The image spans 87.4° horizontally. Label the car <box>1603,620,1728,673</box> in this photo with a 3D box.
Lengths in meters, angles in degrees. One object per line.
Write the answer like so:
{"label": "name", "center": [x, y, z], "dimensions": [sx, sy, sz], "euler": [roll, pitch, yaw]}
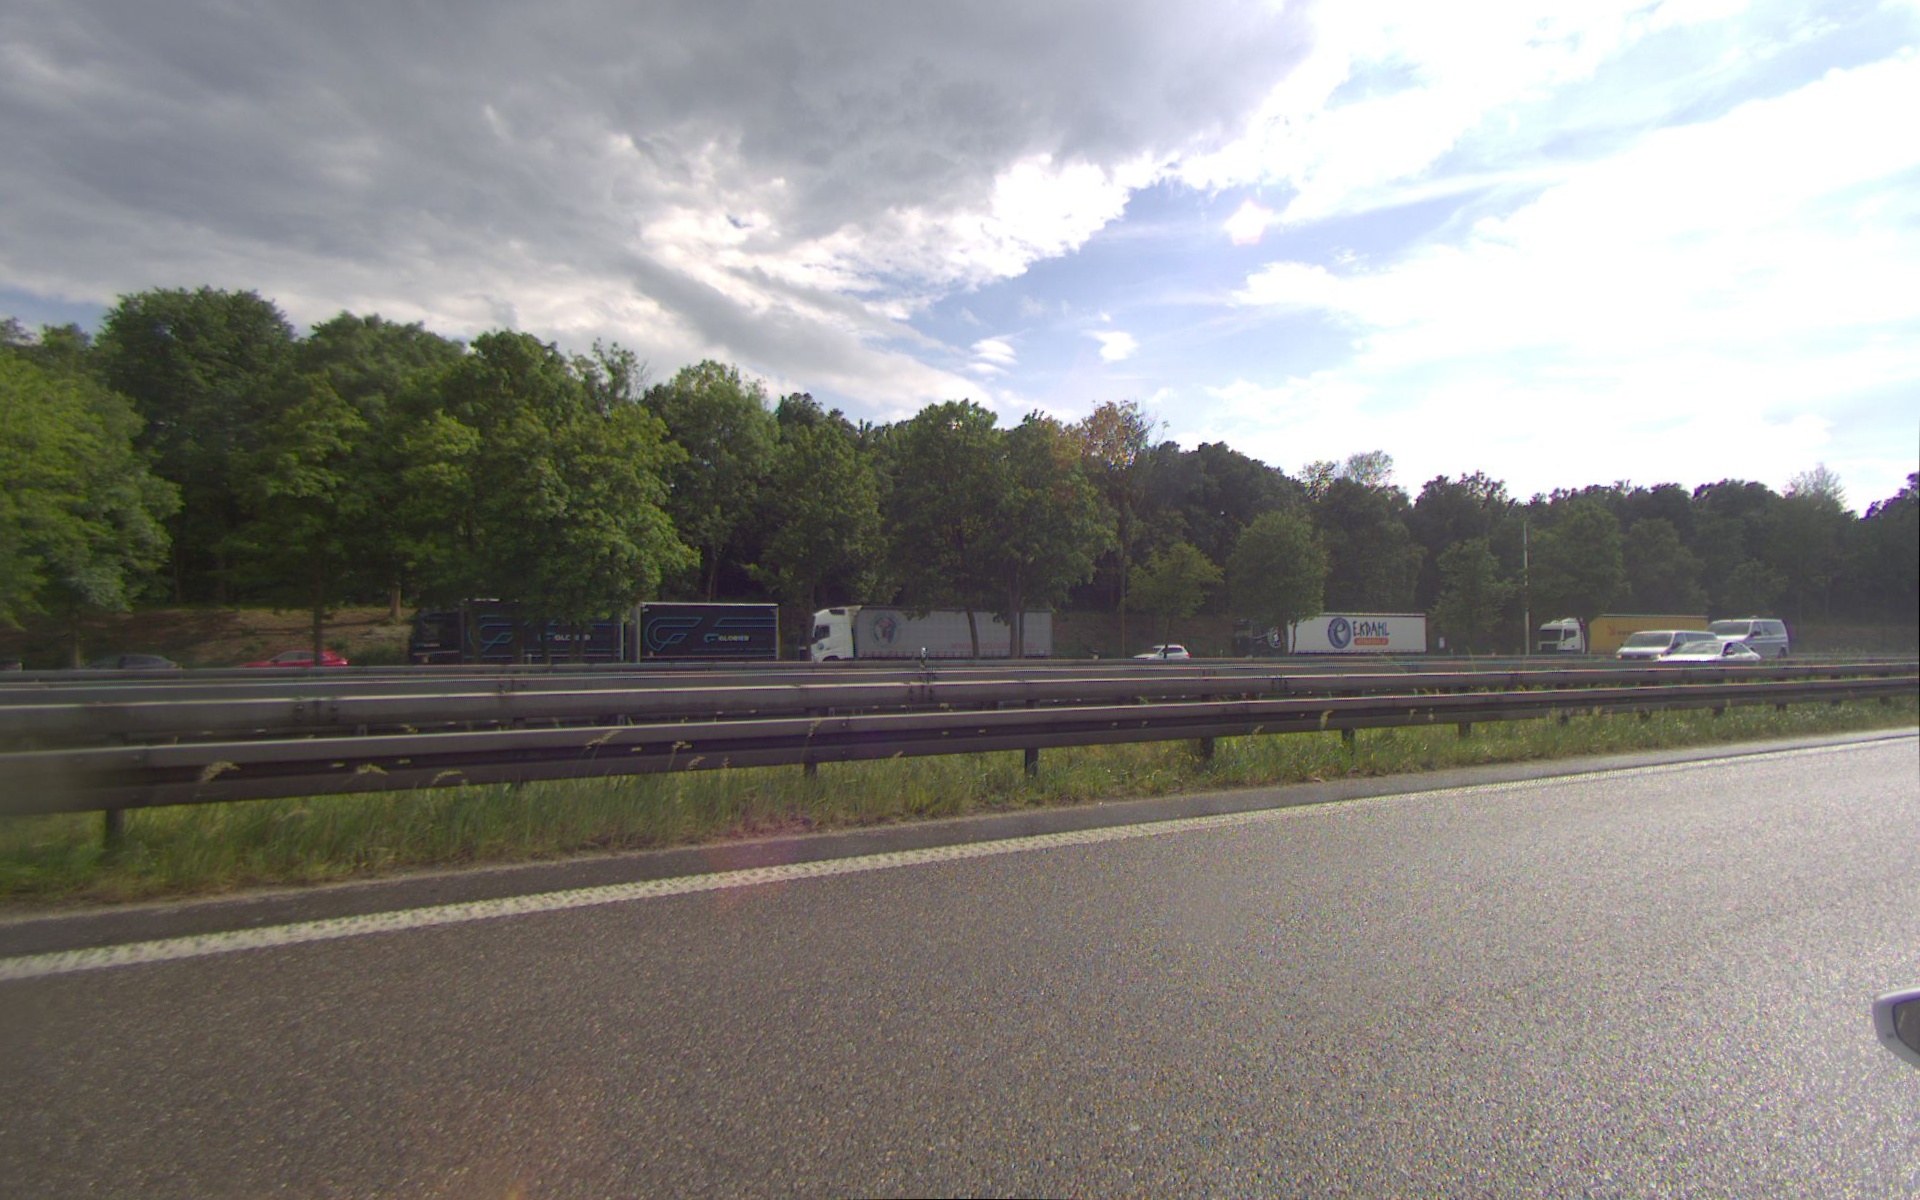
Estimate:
{"label": "car", "center": [27.903, 1.834, 39.688], "dimensions": [5.198, 1.916, 2.036], "euler": [2, 0, -31]}

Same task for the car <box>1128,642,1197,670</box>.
{"label": "car", "center": [14.033, 3.876, 69.592], "dimensions": [4.312, 1.741, 2.051], "euler": [2, 0, -27]}

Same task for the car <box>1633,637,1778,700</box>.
{"label": "car", "center": [25.095, 2.258, 33.770], "dimensions": [5.198, 1.916, 2.036], "euler": [2, 0, -31]}

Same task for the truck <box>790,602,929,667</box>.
{"label": "truck", "center": [-5.968, 2.061, 59.813], "dimensions": [7.267, 3.637, 3.771], "euler": [2, 0, -30]}

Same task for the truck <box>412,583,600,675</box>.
{"label": "truck", "center": [-22.926, 1.469, 50.810], "dimensions": [8.316, 4.290, 3.771], "euler": [2, 0, -30]}

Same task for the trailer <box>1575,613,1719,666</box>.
{"label": "trailer", "center": [59.203, 3.408, 86.631], "dimensions": [11.535, 4.171, 3.787], "euler": [2, 0, -17]}

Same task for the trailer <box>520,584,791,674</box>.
{"label": "trailer", "center": [-16.341, 1.623, 54.609], "dimensions": [13.634, 4.464, 3.773], "euler": [1, -2, -29]}

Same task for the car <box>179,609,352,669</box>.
{"label": "car", "center": [-31.211, 1.757, 45.488], "dimensions": [6.136, 2.515, 2.780], "euler": [2, 0, -30]}

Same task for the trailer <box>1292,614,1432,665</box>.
{"label": "trailer", "center": [30.802, 3.038, 76.990], "dimensions": [10.347, 3.697, 3.781], "euler": [1, -2, -23]}

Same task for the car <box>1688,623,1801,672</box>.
{"label": "car", "center": [33.573, 2.029, 42.941], "dimensions": [5.198, 1.916, 2.036], "euler": [2, 0, -31]}

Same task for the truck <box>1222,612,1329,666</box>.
{"label": "truck", "center": [23.125, 2.834, 73.605], "dimensions": [6.613, 3.709, 3.777], "euler": [2, 0, -25]}

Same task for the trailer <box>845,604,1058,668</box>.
{"label": "trailer", "center": [-0.373, 2.234, 62.960], "dimensions": [13.183, 3.697, 3.773], "euler": [1, -2, -29]}

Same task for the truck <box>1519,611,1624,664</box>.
{"label": "truck", "center": [51.251, 3.155, 84.280], "dimensions": [6.931, 4.171, 3.787], "euler": [2, 0, -16]}
